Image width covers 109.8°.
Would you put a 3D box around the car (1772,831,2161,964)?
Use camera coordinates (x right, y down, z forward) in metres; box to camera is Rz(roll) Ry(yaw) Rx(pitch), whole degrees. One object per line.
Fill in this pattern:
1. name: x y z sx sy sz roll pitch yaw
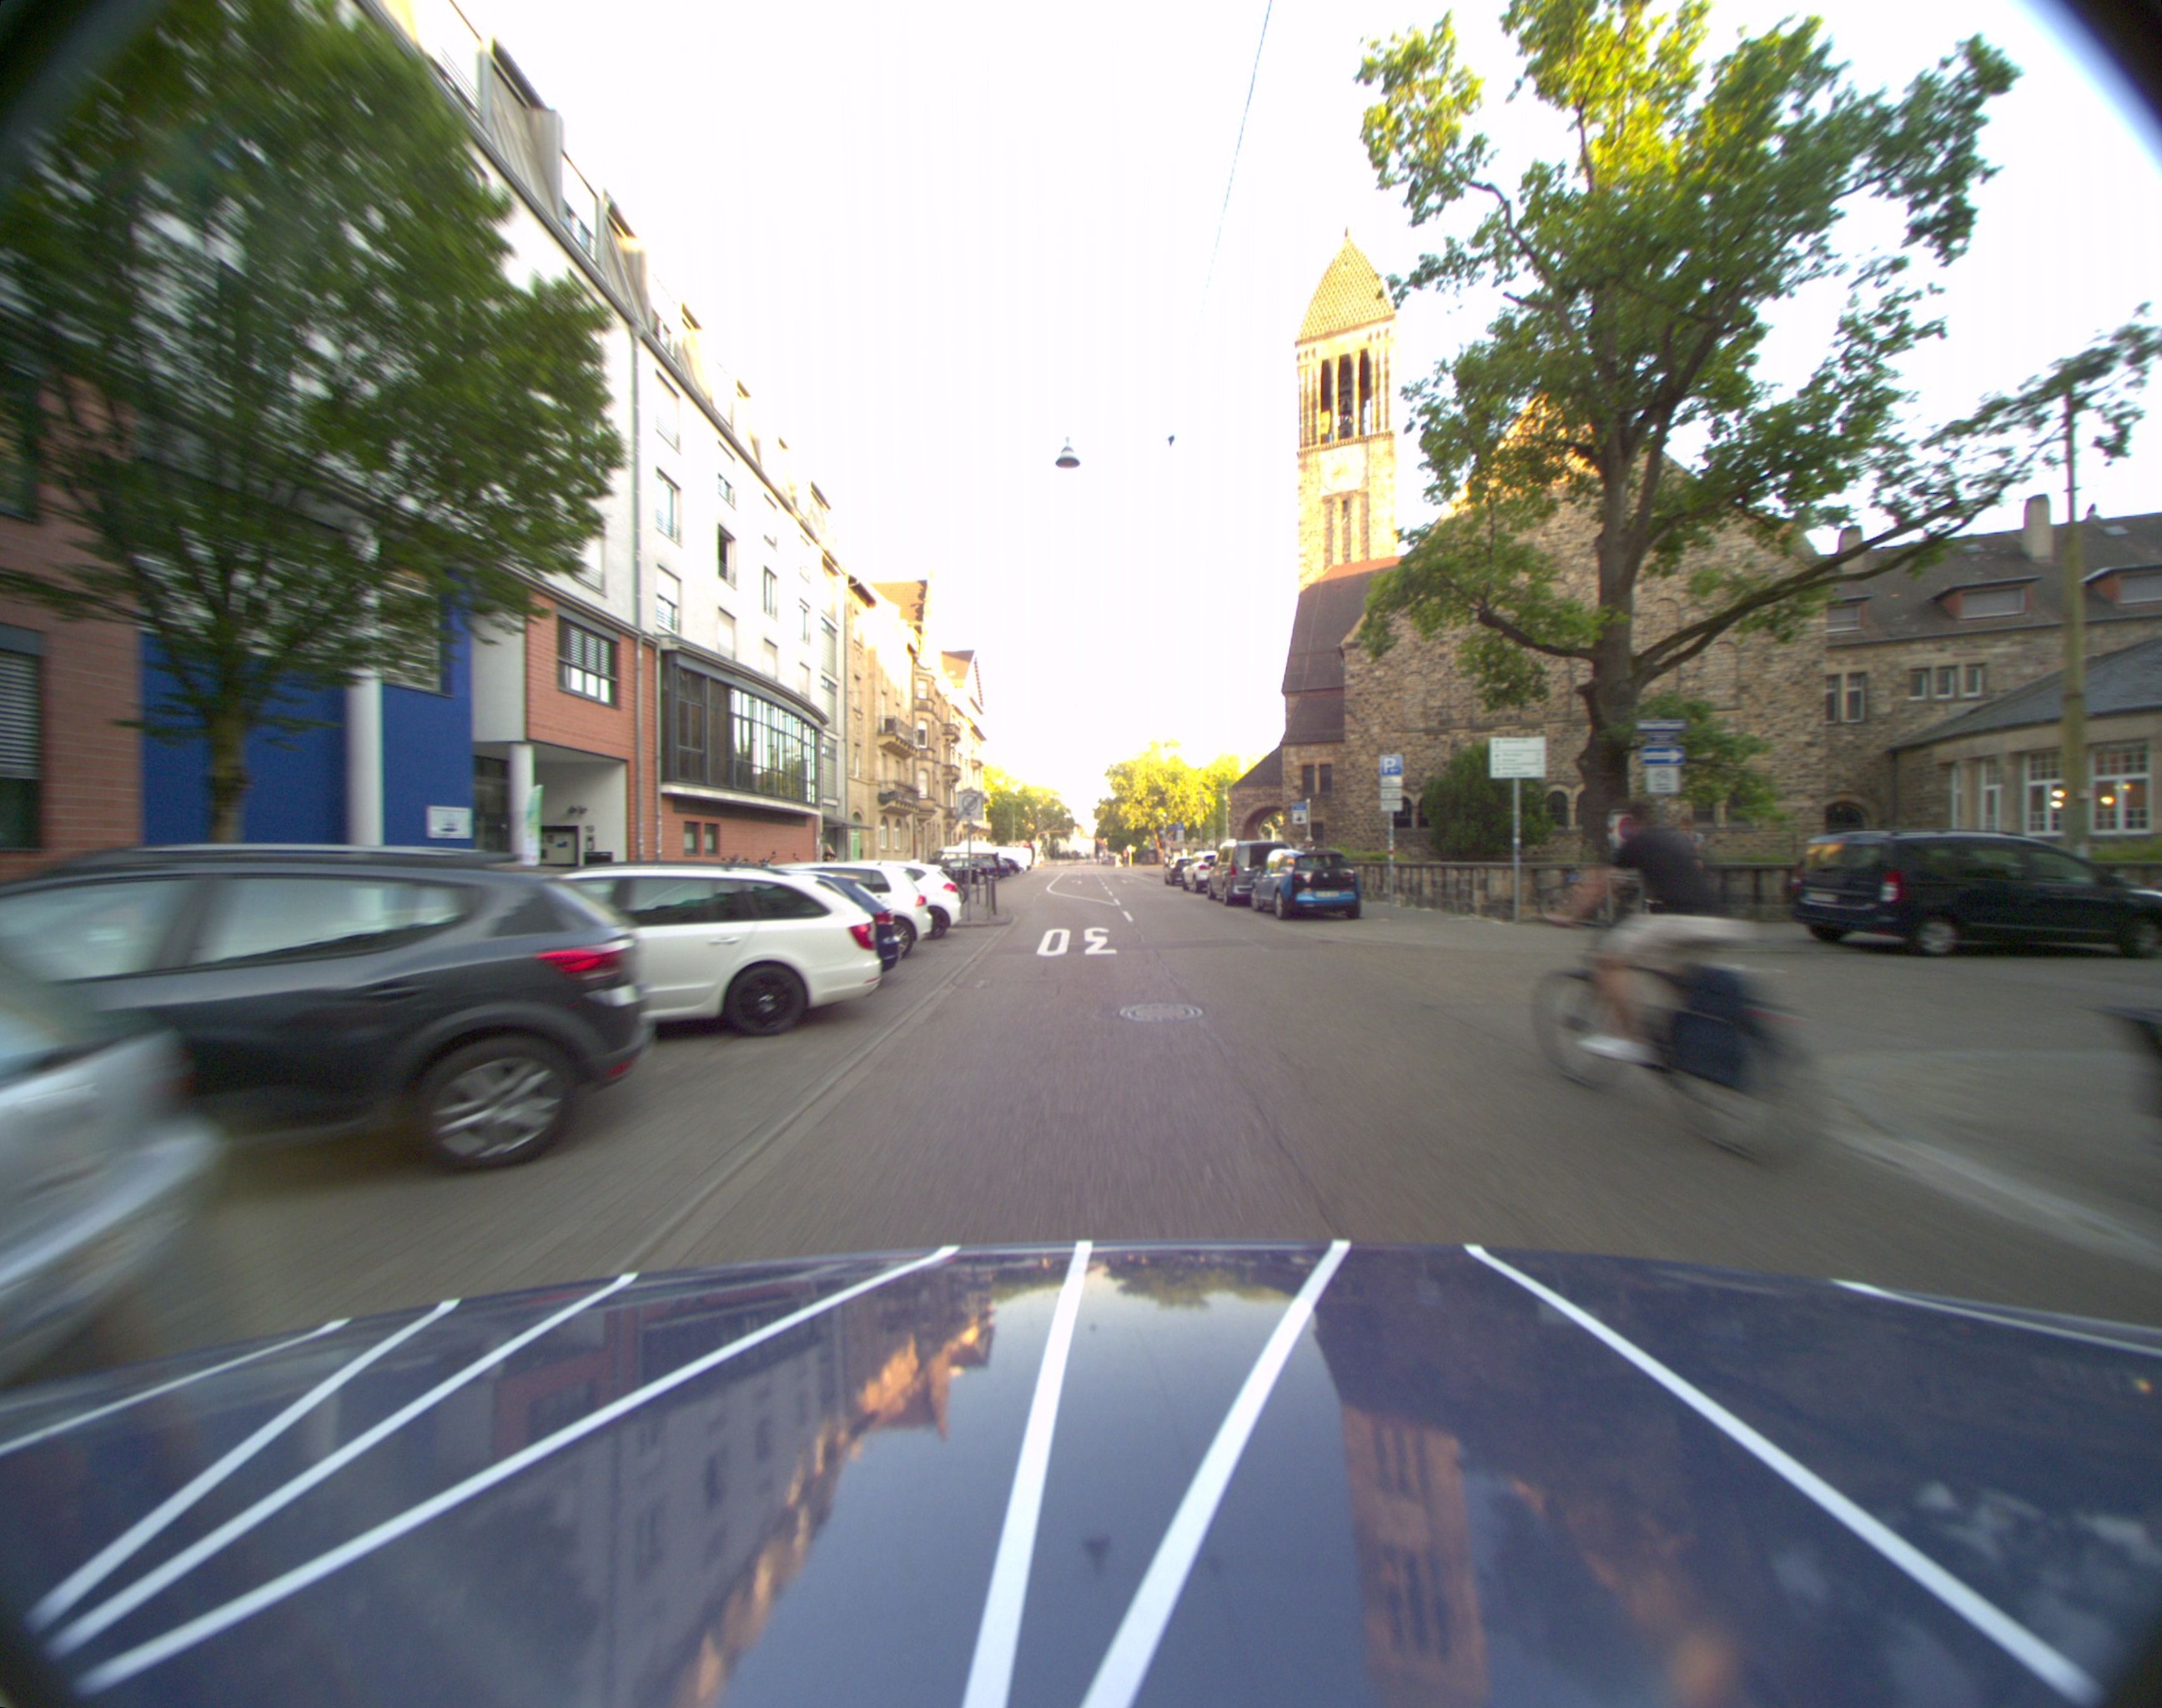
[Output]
1. car: 13.386 0.609 11.515 3.996 1.833 1.891 0 0 4

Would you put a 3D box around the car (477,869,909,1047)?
1. car: -4.185 0.981 8.663 4.006 1.514 1.705 0 2 -30

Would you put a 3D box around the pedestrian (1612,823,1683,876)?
1. pedestrian: 10.709 -0.083 14.383 0.708 0.975 0.837 0 0 -2

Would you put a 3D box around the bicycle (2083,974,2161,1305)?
1. bicycle: 4.660 0.969 2.204 2.112 1.088 0.502 -1 -1 25

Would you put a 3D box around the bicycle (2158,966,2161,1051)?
1. bicycle: 8.608 1.179 5.008 0.424 0.691 1.779 -1 -2 -2

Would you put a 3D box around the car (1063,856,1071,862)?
1. car: -3.793 1.304 203.329 1.794 1.571 4.001 0 0 4

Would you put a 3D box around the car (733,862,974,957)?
1. car: -4.196 0.925 14.113 4.006 1.498 1.766 0 0 -29

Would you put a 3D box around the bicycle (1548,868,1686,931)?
1. bicycle: 9.886 0.831 14.040 2.144 1.127 0.555 0 1 1

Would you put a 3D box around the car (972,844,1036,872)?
1. car: -7.473 0.401 73.908 5.897 2.537 2.189 1 2 -41

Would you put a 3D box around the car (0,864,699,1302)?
1. car: -4.012 0.857 3.769 3.612 1.571 1.712 0 0 -33

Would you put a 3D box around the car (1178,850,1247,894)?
1. car: 5.130 0.670 30.221 1.876 1.582 4.468 0 0 -1

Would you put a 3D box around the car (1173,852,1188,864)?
1. car: 15.822 0.621 121.096 1.865 2.002 3.815 0 0 15

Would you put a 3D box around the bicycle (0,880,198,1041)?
1. bicycle: -8.554 0.790 6.039 2.352 1.092 0.680 3 1 3

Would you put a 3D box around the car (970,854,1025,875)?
1. car: -6.832 0.885 62.107 4.107 1.598 1.811 2 0 -38

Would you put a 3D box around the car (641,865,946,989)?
1. car: -4.276 0.952 11.464 4.007 1.464 1.870 0 2 -33

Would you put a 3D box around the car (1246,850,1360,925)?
1. car: 5.059 0.698 17.858 1.644 1.546 4.004 -1 0 2

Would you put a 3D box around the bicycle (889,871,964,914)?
1. bicycle: -4.059 1.004 19.969 1.862 1.059 0.445 1 0 -1

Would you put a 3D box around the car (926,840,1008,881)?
1. car: -7.193 0.367 47.985 4.733 2.532 1.914 -1 1 -29

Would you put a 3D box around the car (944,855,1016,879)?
1. car: -6.771 0.861 50.915 4.407 1.477 1.839 2 0 -30

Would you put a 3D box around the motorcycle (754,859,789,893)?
1. motorcycle: -11.089 0.763 27.301 0.778 1.133 2.413 1 0 -13

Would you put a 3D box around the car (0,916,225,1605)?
1. car: -4.040 0.943 0.905 3.611 1.473 1.719 0 0 -27

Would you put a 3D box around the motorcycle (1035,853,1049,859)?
1. motorcycle: -6.508 0.327 127.076 2.288 0.917 0.621 0 0 -25

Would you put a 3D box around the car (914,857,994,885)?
1. car: -7.168 0.917 42.967 4.076 1.483 1.720 0 0 -31

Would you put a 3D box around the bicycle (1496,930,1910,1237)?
1. bicycle: 3.000 1.010 3.983 0.616 1.034 1.904 0 0 0

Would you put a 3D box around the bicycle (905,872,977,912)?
1. bicycle: -3.848 1.036 20.948 1.862 1.032 0.472 1 0 -1

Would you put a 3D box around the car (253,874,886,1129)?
1. car: -3.900 0.977 6.515 4.006 1.528 1.632 0 0 -30

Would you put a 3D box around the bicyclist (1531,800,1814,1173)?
1. bicyclist: 2.994 0.598 3.983 0.604 1.675 1.142 0 0 1

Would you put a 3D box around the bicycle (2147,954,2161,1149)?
1. bicycle: 5.600 1.007 3.096 0.424 1.006 1.720 -1 -1 14

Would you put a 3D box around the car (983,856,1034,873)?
1. car: -6.766 0.983 71.190 4.264 1.445 1.994 1 0 -38

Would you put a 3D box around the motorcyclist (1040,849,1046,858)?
1. motorcyclist: -6.414 -0.041 127.136 0.830 1.510 0.621 -1 0 -25

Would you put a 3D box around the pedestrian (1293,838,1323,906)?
1. pedestrian: 6.453 0.496 21.650 0.584 1.894 0.803 0 0 -3

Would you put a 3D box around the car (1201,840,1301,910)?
1. car: 5.012 0.582 23.171 1.998 1.855 5.290 -1 0 2

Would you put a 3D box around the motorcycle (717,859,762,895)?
1. motorcycle: -11.156 0.739 24.889 0.590 1.097 2.083 2 0 -3

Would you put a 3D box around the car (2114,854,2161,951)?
1. car: 18.678 0.732 11.339 4.210 1.491 1.721 0 0 0

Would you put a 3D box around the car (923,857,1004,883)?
1. car: -7.030 0.921 45.466 4.363 1.494 1.909 0 0 -28

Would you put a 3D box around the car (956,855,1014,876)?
1. car: -7.419 0.927 59.038 4.066 1.489 1.749 2 0 -35

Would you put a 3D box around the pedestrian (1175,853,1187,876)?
1. pedestrian: 7.484 0.792 56.707 0.716 1.715 0.691 -1 1 -9

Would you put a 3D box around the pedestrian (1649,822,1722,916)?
1. pedestrian: 11.435 0.276 14.404 0.708 1.711 0.837 0 0 -2

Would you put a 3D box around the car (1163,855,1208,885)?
1. car: 5.180 0.772 38.167 1.787 1.427 4.316 0 0 2

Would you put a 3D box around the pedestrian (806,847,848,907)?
1. pedestrian: -8.932 0.799 26.721 0.608 2.002 0.857 18 1 1

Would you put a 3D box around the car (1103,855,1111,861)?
1. car: 6.845 0.956 198.808 1.827 1.565 4.001 -1 0 4

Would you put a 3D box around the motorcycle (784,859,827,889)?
1. motorcycle: -10.968 0.775 30.360 0.802 1.133 2.440 2 0 0

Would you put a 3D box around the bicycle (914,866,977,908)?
1. bicycle: -3.925 0.954 22.051 1.712 1.169 0.472 1 0 -1

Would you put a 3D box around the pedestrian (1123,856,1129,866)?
1. pedestrian: 7.275 1.078 122.241 0.745 1.619 0.660 -1 0 17
